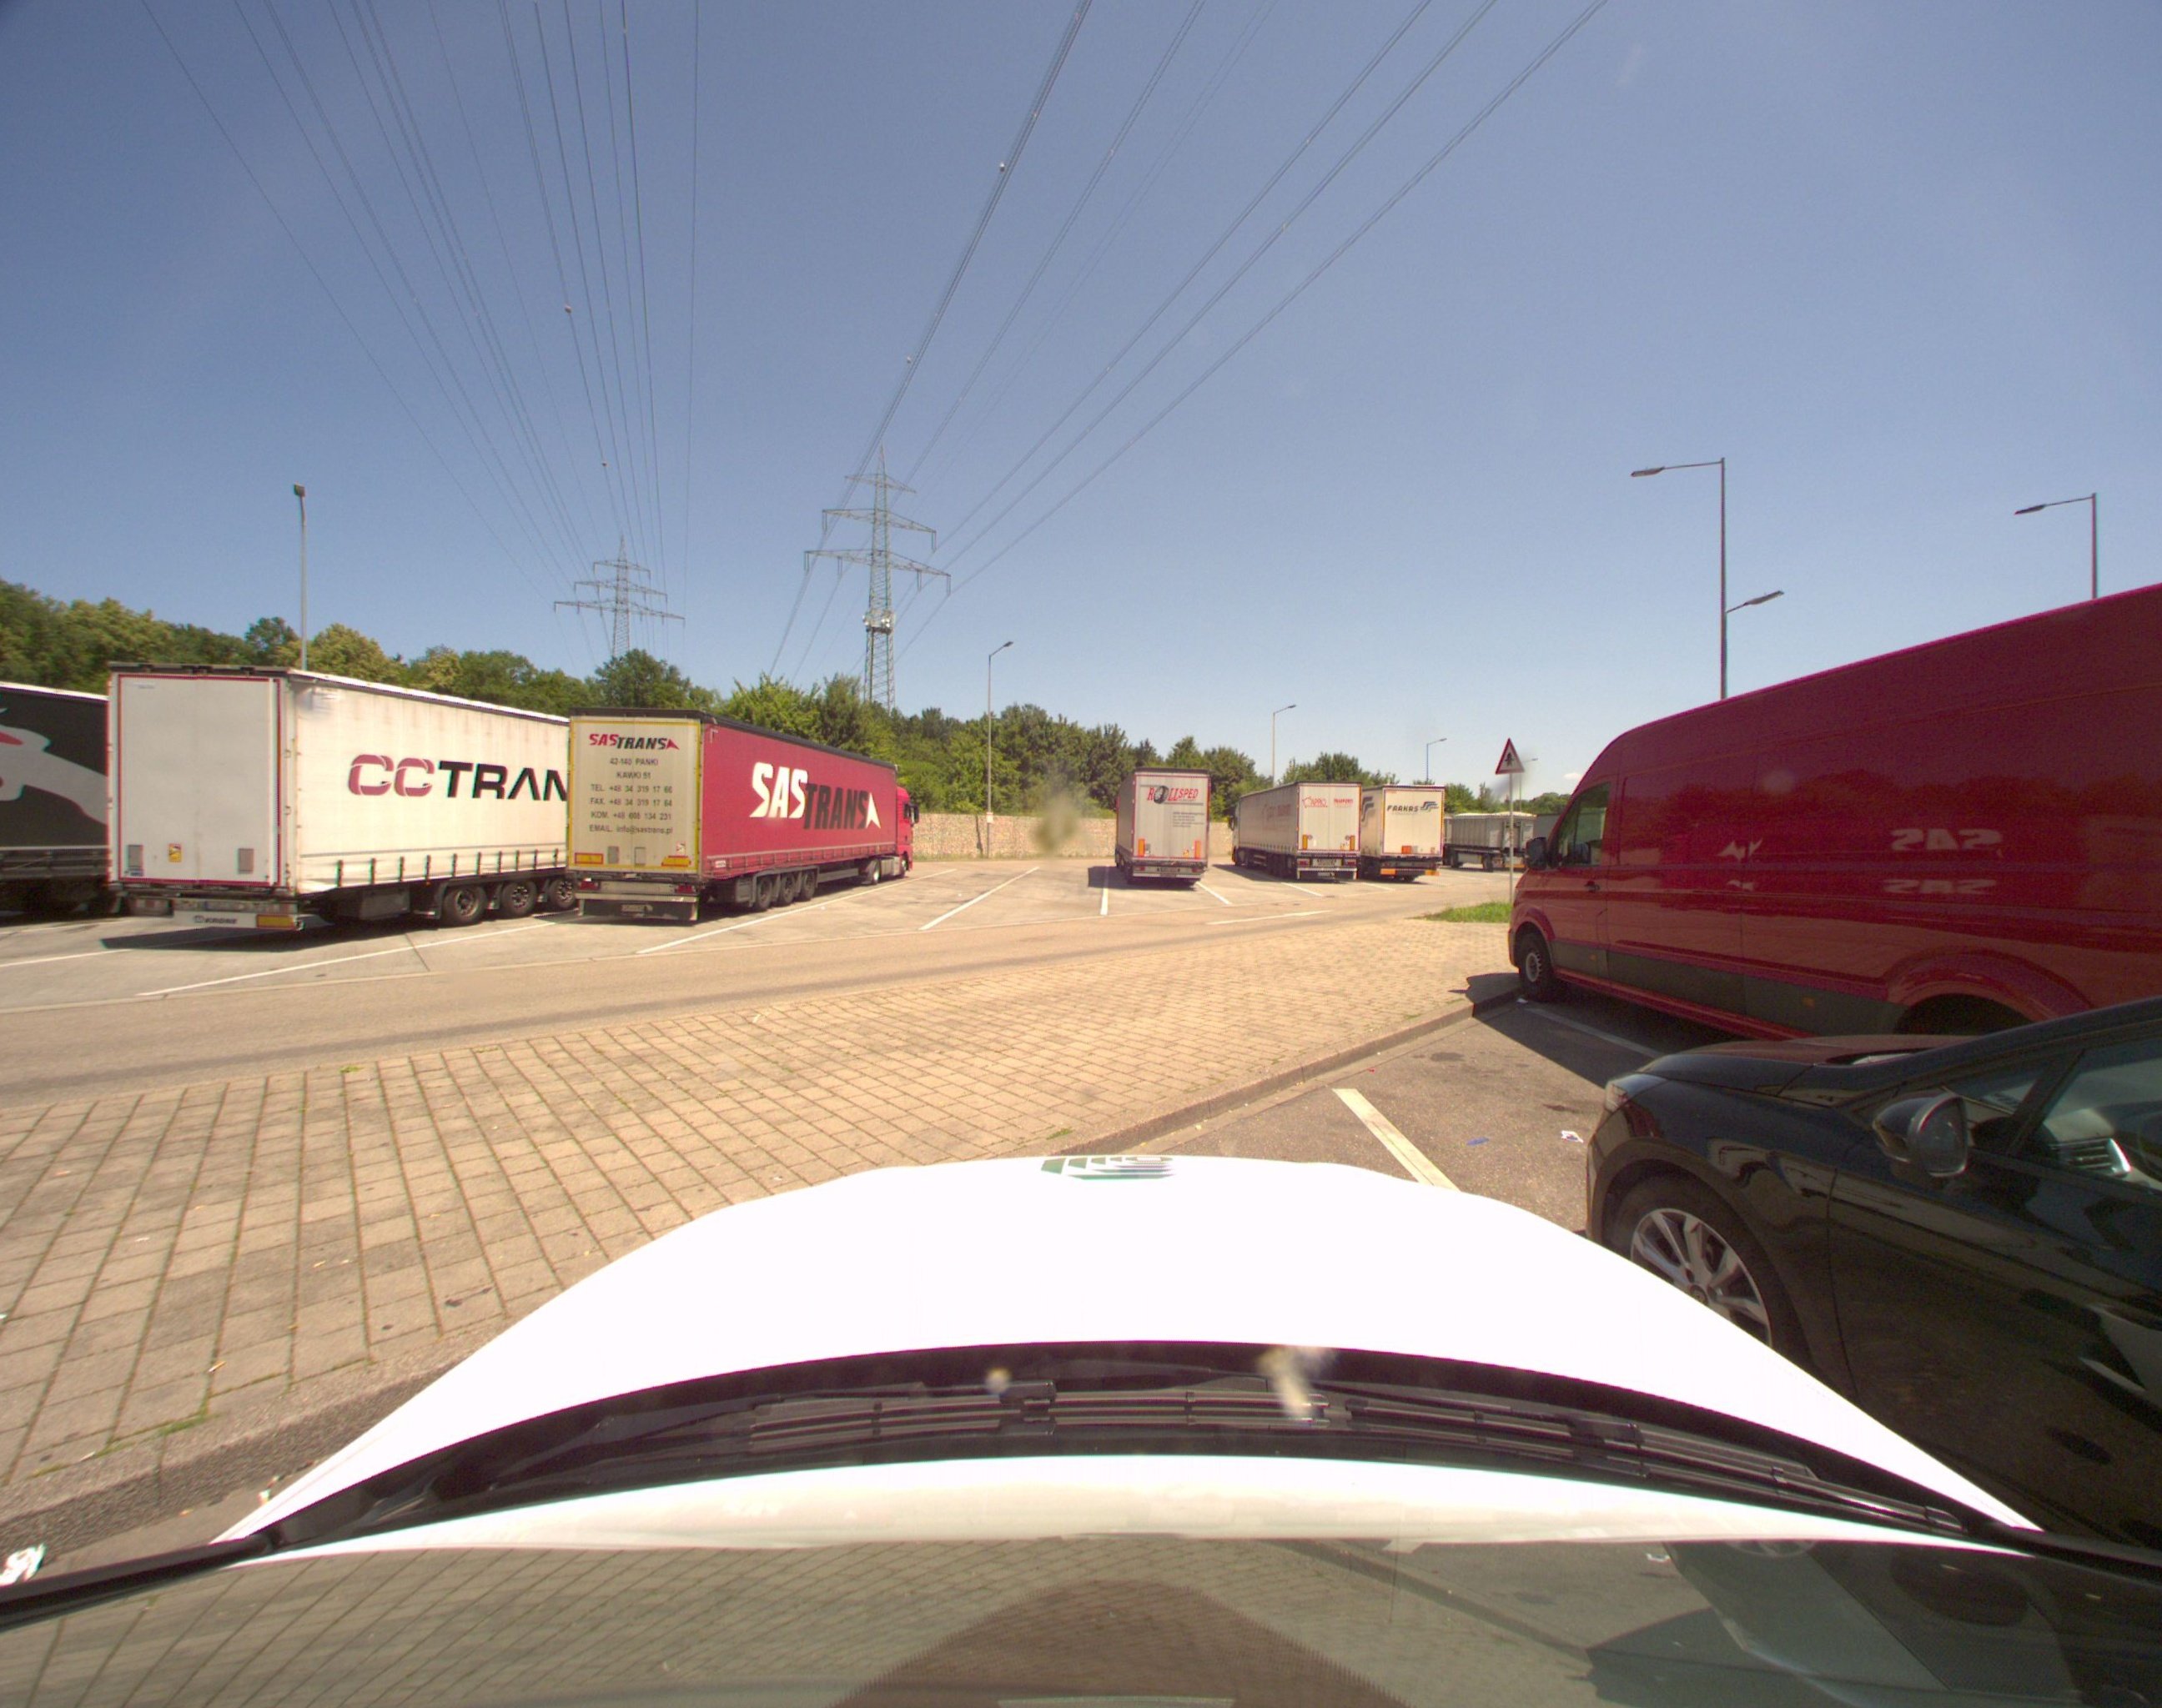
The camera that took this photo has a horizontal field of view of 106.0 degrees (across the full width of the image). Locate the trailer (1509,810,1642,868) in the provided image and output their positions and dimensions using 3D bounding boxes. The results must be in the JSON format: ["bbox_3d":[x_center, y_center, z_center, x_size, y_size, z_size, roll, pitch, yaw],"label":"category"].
[{"bbox_3d":[38.392,-1.248,64.126,2.826,4.049,13.737,1,2,3],"label":"trailer"}]

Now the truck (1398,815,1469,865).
[{"bbox_3d":[24.938,-1.019,57.942,2.840,3.364,5.488,1,1,3],"label":"truck"}]

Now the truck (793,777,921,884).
[{"bbox_3d":[-7.786,-0.838,29.088,2.841,3.427,5.486,1,1,2],"label":"truck"}]

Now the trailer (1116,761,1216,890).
[{"bbox_3d":[3.039,-1.107,33.289,2.896,4.132,13.727,1,2,1],"label":"trailer"}]

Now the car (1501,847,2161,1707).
[{"bbox_3d":[2.529,0.753,1.173,1.733,1.482,3.813,-1,1,-3],"label":"car"}]

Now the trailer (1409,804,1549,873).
[{"bbox_3d":[24.548,-1.009,51.444,2.826,3.717,13.737,1,2,3],"label":"trailer"}]

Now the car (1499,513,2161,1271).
[{"bbox_3d":[5.173,0.086,5.483,2.055,2.695,6.405,-1,1,6],"label":"car"}]

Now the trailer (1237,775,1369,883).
[{"bbox_3d":[9.970,-1.160,38.616,2.828,4.132,13.730,1,2,2],"label":"trailer"}]

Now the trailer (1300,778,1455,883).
[{"bbox_3d":[13.627,-1.127,39.279,2.828,4.132,13.730,1,2,2],"label":"trailer"}]

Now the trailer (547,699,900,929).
[{"bbox_3d":[-8.026,-0.956,21.652,2.896,4.131,13.731,1,2,2],"label":"trailer"}]

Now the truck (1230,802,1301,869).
[{"bbox_3d":[10.179,-1.035,45.426,2.841,3.483,5.486,1,1,2],"label":"truck"}]

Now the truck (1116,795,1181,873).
[{"bbox_3d":[3.184,-0.994,39.902,2.841,3.483,5.486,1,1,2],"label":"truck"}]

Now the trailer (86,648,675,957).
[{"bbox_3d":[-12.191,-0.890,16.323,2.718,4.209,10.175,1,2,2],"label":"trailer"}]

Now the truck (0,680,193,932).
[{"bbox_3d":[-18.567,-0.802,13.559,2.692,4.016,4.326,1,2,2],"label":"truck"}]
